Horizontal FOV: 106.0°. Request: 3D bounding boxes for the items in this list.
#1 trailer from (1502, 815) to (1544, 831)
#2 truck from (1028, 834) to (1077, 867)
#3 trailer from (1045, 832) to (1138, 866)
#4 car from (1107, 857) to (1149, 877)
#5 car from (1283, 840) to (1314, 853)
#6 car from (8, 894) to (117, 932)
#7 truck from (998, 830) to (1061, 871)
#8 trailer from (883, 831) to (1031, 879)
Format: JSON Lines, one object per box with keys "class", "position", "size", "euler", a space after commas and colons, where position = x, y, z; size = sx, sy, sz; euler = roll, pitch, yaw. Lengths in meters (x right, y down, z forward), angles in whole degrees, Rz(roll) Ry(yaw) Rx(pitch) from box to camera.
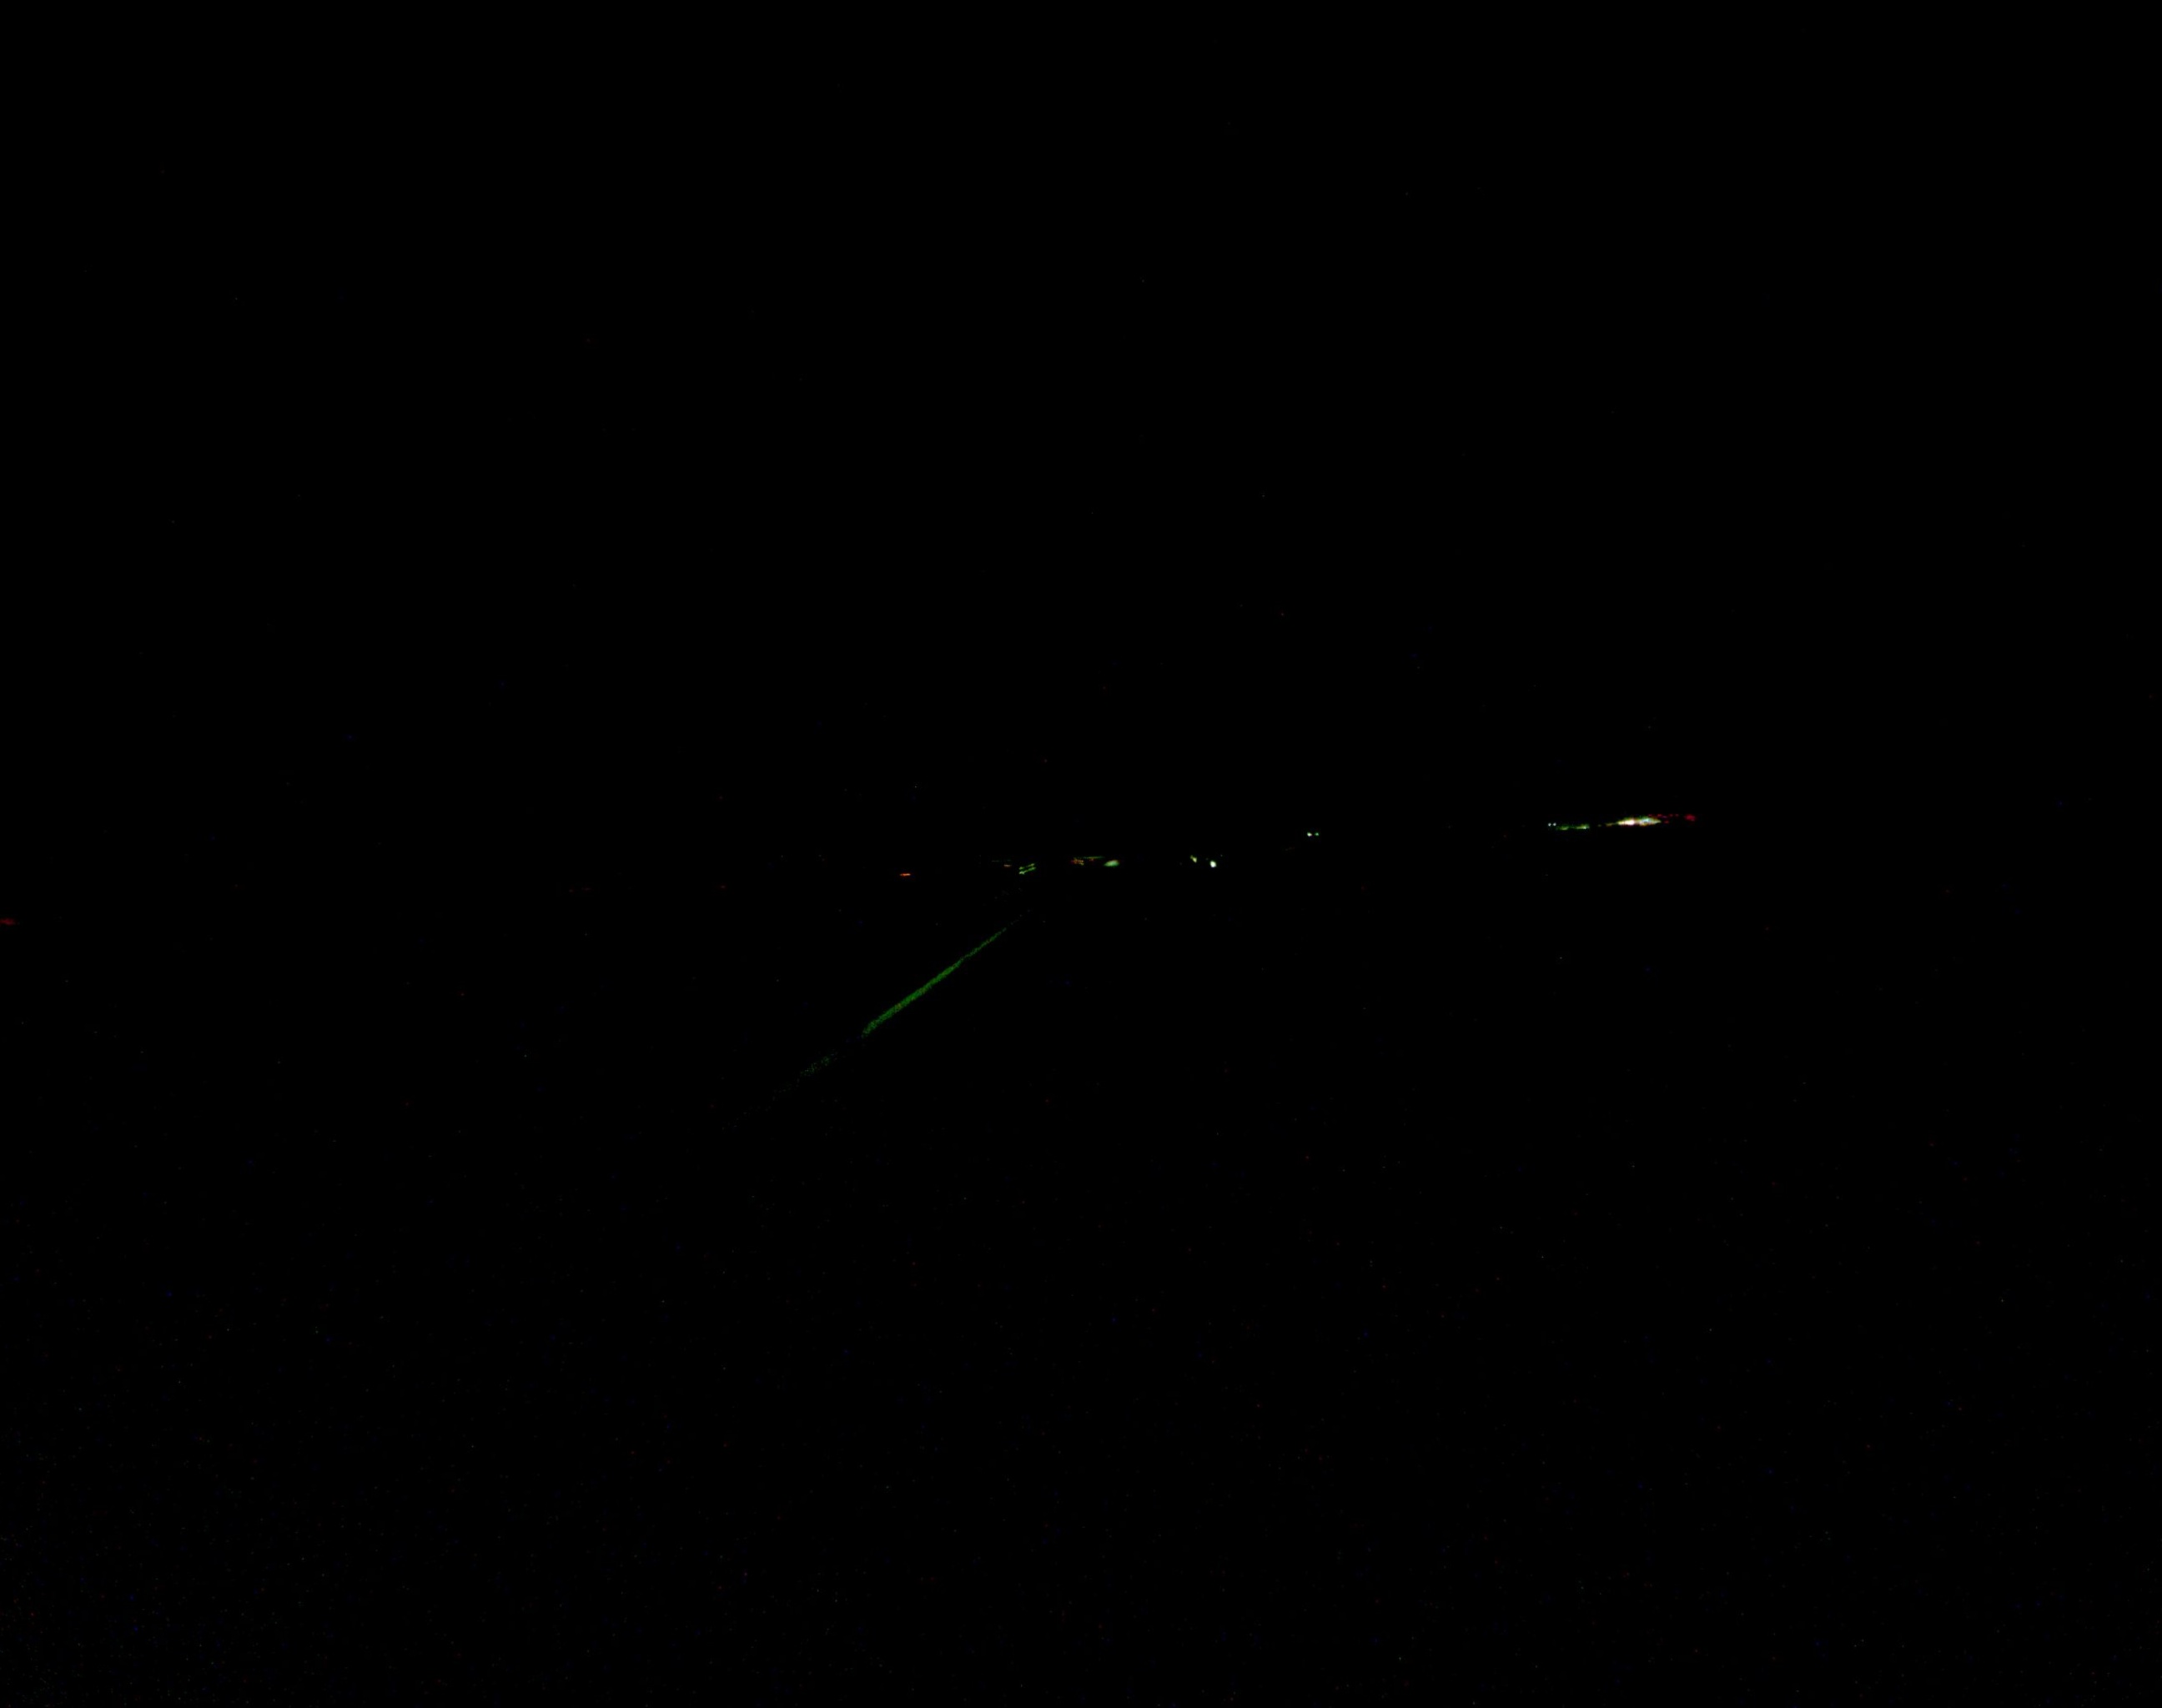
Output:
{"class": "trailer", "position": [83.589, -5.835, 153.793], "size": [12.927, 2.699, 2.664], "euler": [-3, 1, -41]}
{"class": "truck", "position": [-3.659, -0.469, 106.048], "size": [5.778, 4.028, 2.747], "euler": [-3, 1, -39]}
{"class": "trailer", "position": [1.665, -0.741, 110.429], "size": [14.086, 4.028, 2.747], "euler": [-3, 1, -39]}
{"class": "car", "position": [4.746, 1.326, 82.188], "size": [4.022, 1.818, 1.976], "euler": [-3, 1, -41]}
{"class": "car", "position": [28.825, -1.017, 108.001], "size": [4.020, 1.519, 1.977], "euler": [-2, 1, -39]}
{"class": "car", "position": [-66.169, 3.788, 53.035], "size": [4.020, 2.013, 1.949], "euler": [-3, 1, -39]}
{"class": "truck", "position": [-4.917, -0.363, 78.672], "size": [5.486, 3.711, 2.566], "euler": [-3, 1, -39]}
{"class": "trailer", "position": [-10.967, -0.040, 73.771], "size": [13.721, 3.724, 2.570], "euler": [-3, 1, -39]}
